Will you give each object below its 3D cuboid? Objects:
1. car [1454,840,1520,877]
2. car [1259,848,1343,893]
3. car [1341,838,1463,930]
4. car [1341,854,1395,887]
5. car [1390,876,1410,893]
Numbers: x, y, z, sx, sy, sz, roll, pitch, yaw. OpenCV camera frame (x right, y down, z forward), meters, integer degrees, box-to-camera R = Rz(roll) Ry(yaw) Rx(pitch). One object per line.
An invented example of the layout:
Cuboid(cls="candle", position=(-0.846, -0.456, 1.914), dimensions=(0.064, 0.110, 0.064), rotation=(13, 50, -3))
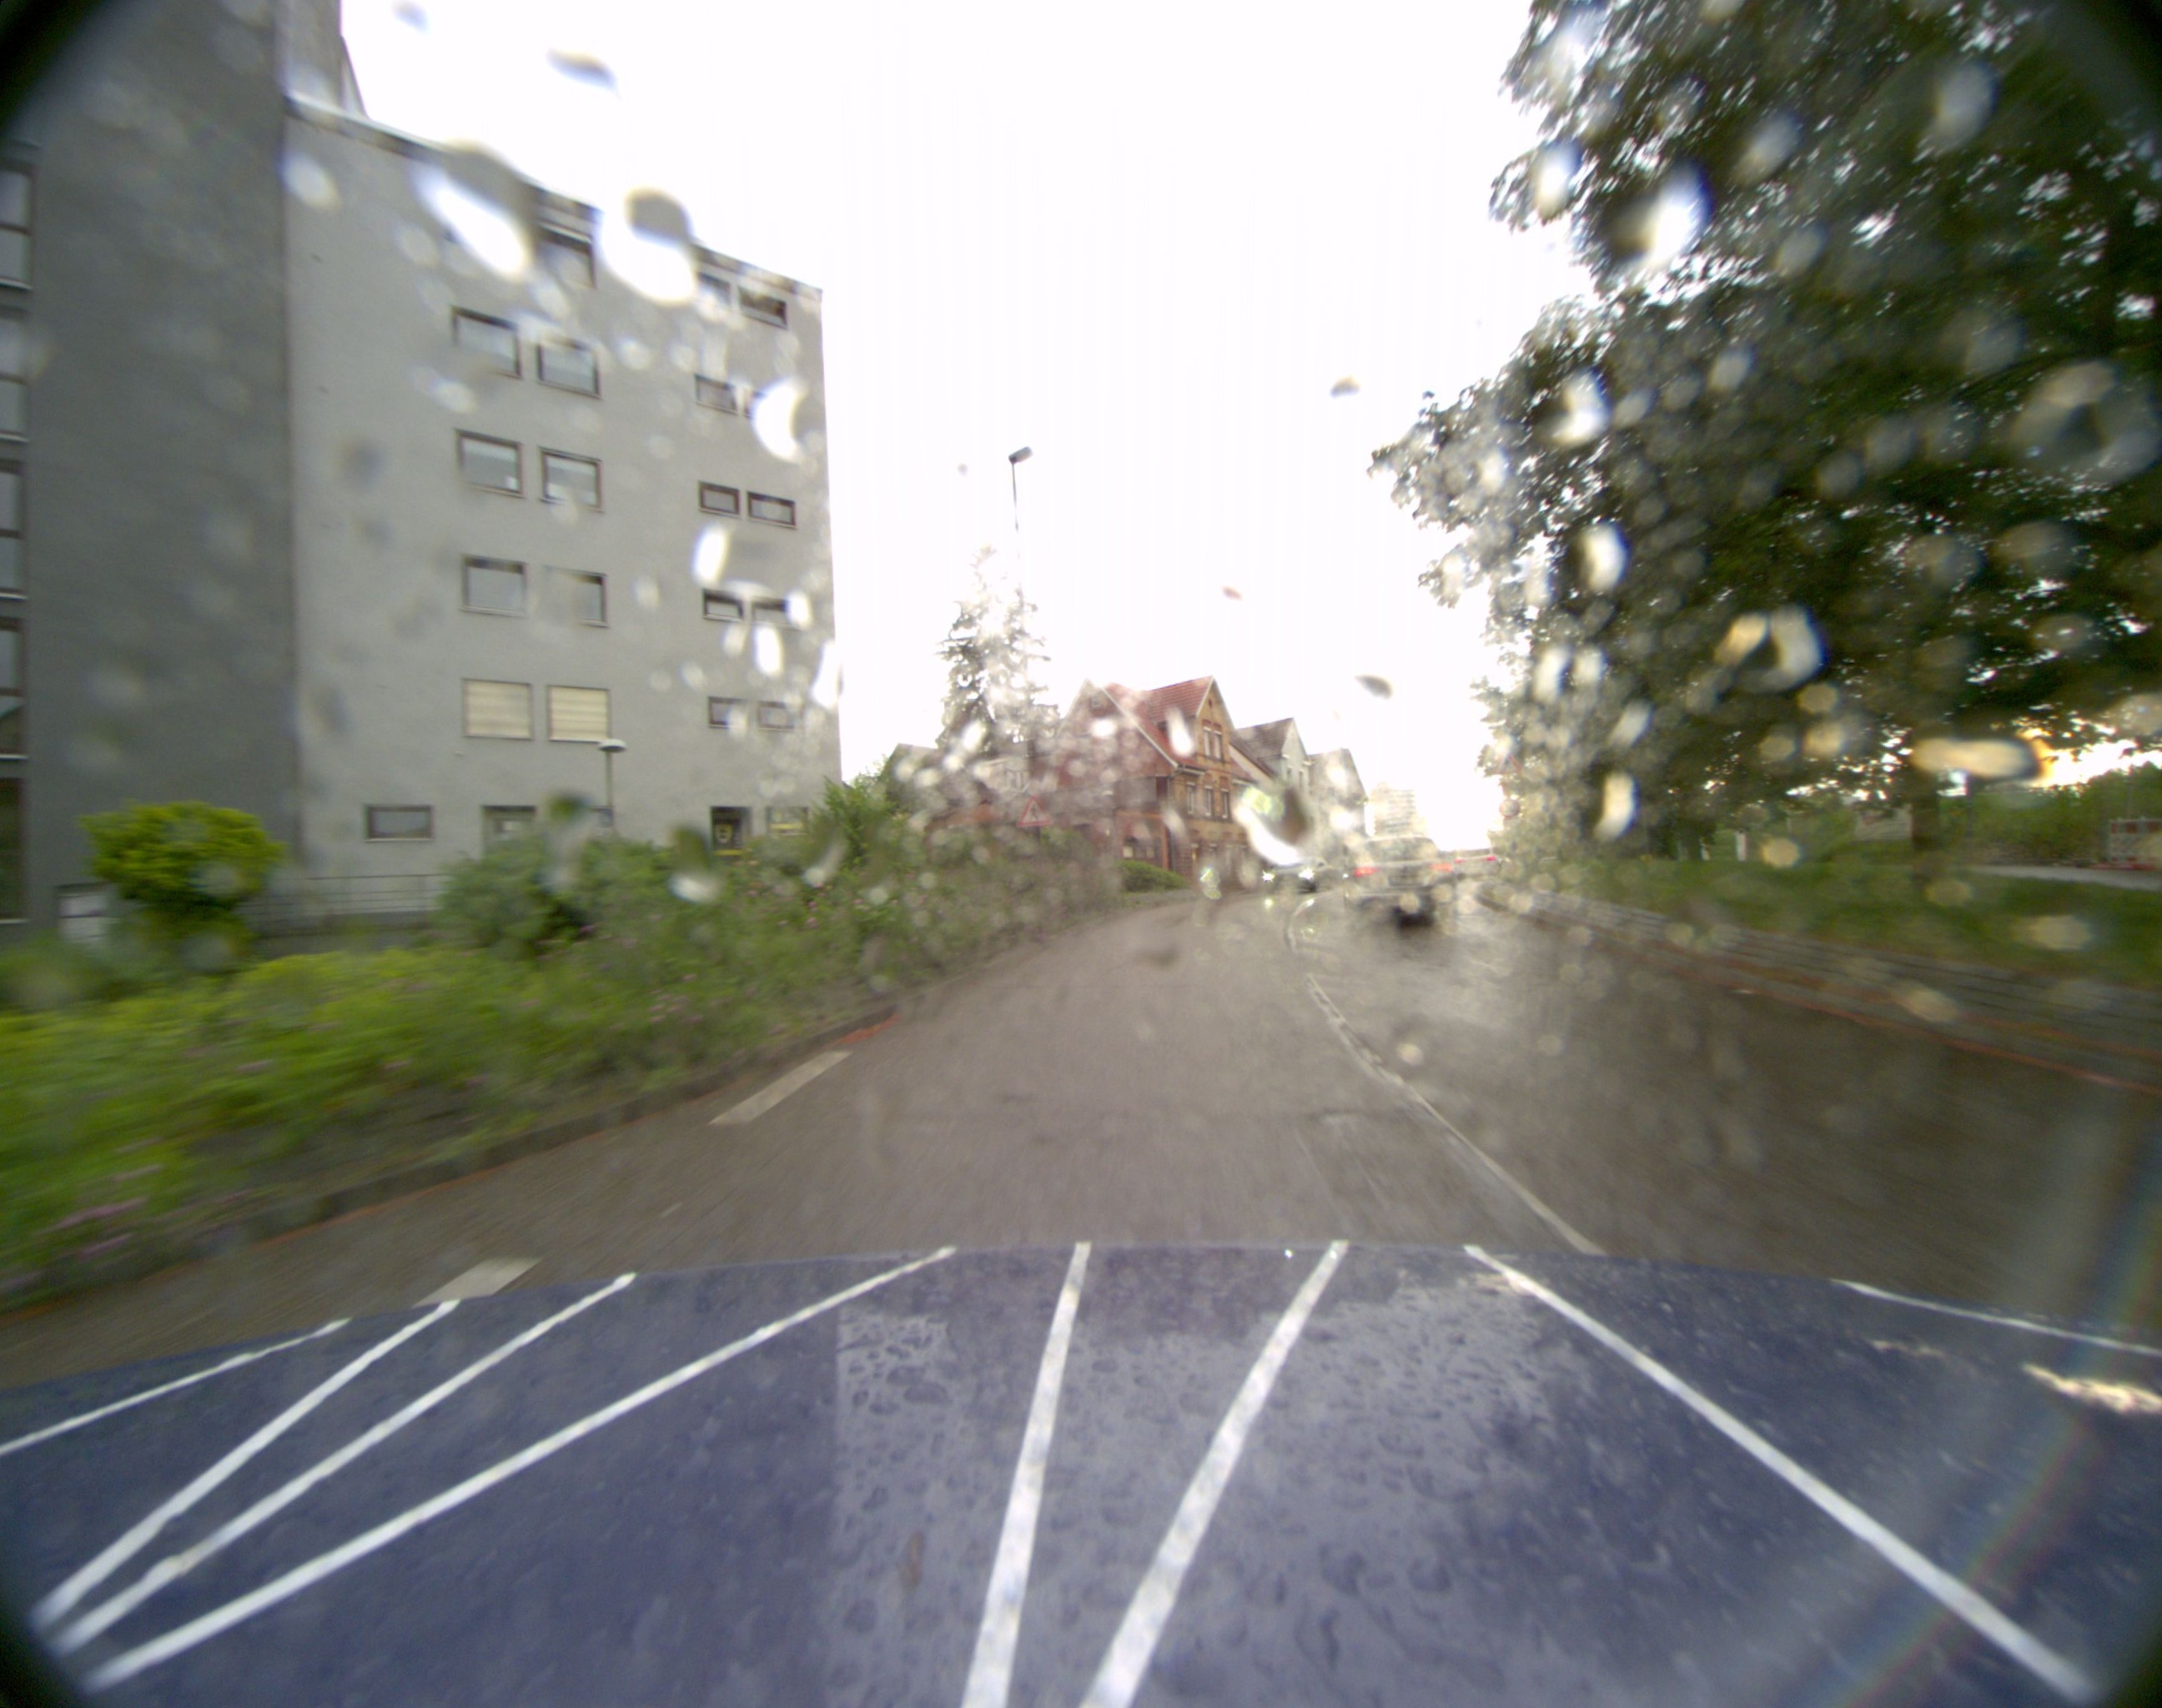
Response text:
Cuboid(cls="car", position=(18.574, 0.189, 34.680), dimensions=(1.724, 1.496, 4.267), rotation=(-4, -1, 40))
Cuboid(cls="car", position=(8.806, 0.685, 30.161), dimensions=(1.835, 1.504, 4.859), rotation=(-7, -5, 31))
Cuboid(cls="car", position=(6.129, 0.506, 14.942), dimensions=(1.730, 1.534, 4.305), rotation=(-2, 0, 17))
Cuboid(cls="car", position=(14.671, 0.878, 38.629), dimensions=(1.787, 1.338, 4.957), rotation=(-6, -6, 28))
Cuboid(cls="car", position=(43.138, 4.198, 102.762), dimensions=(2.028, 1.923, 4.956), rotation=(-5, -6, 19))
